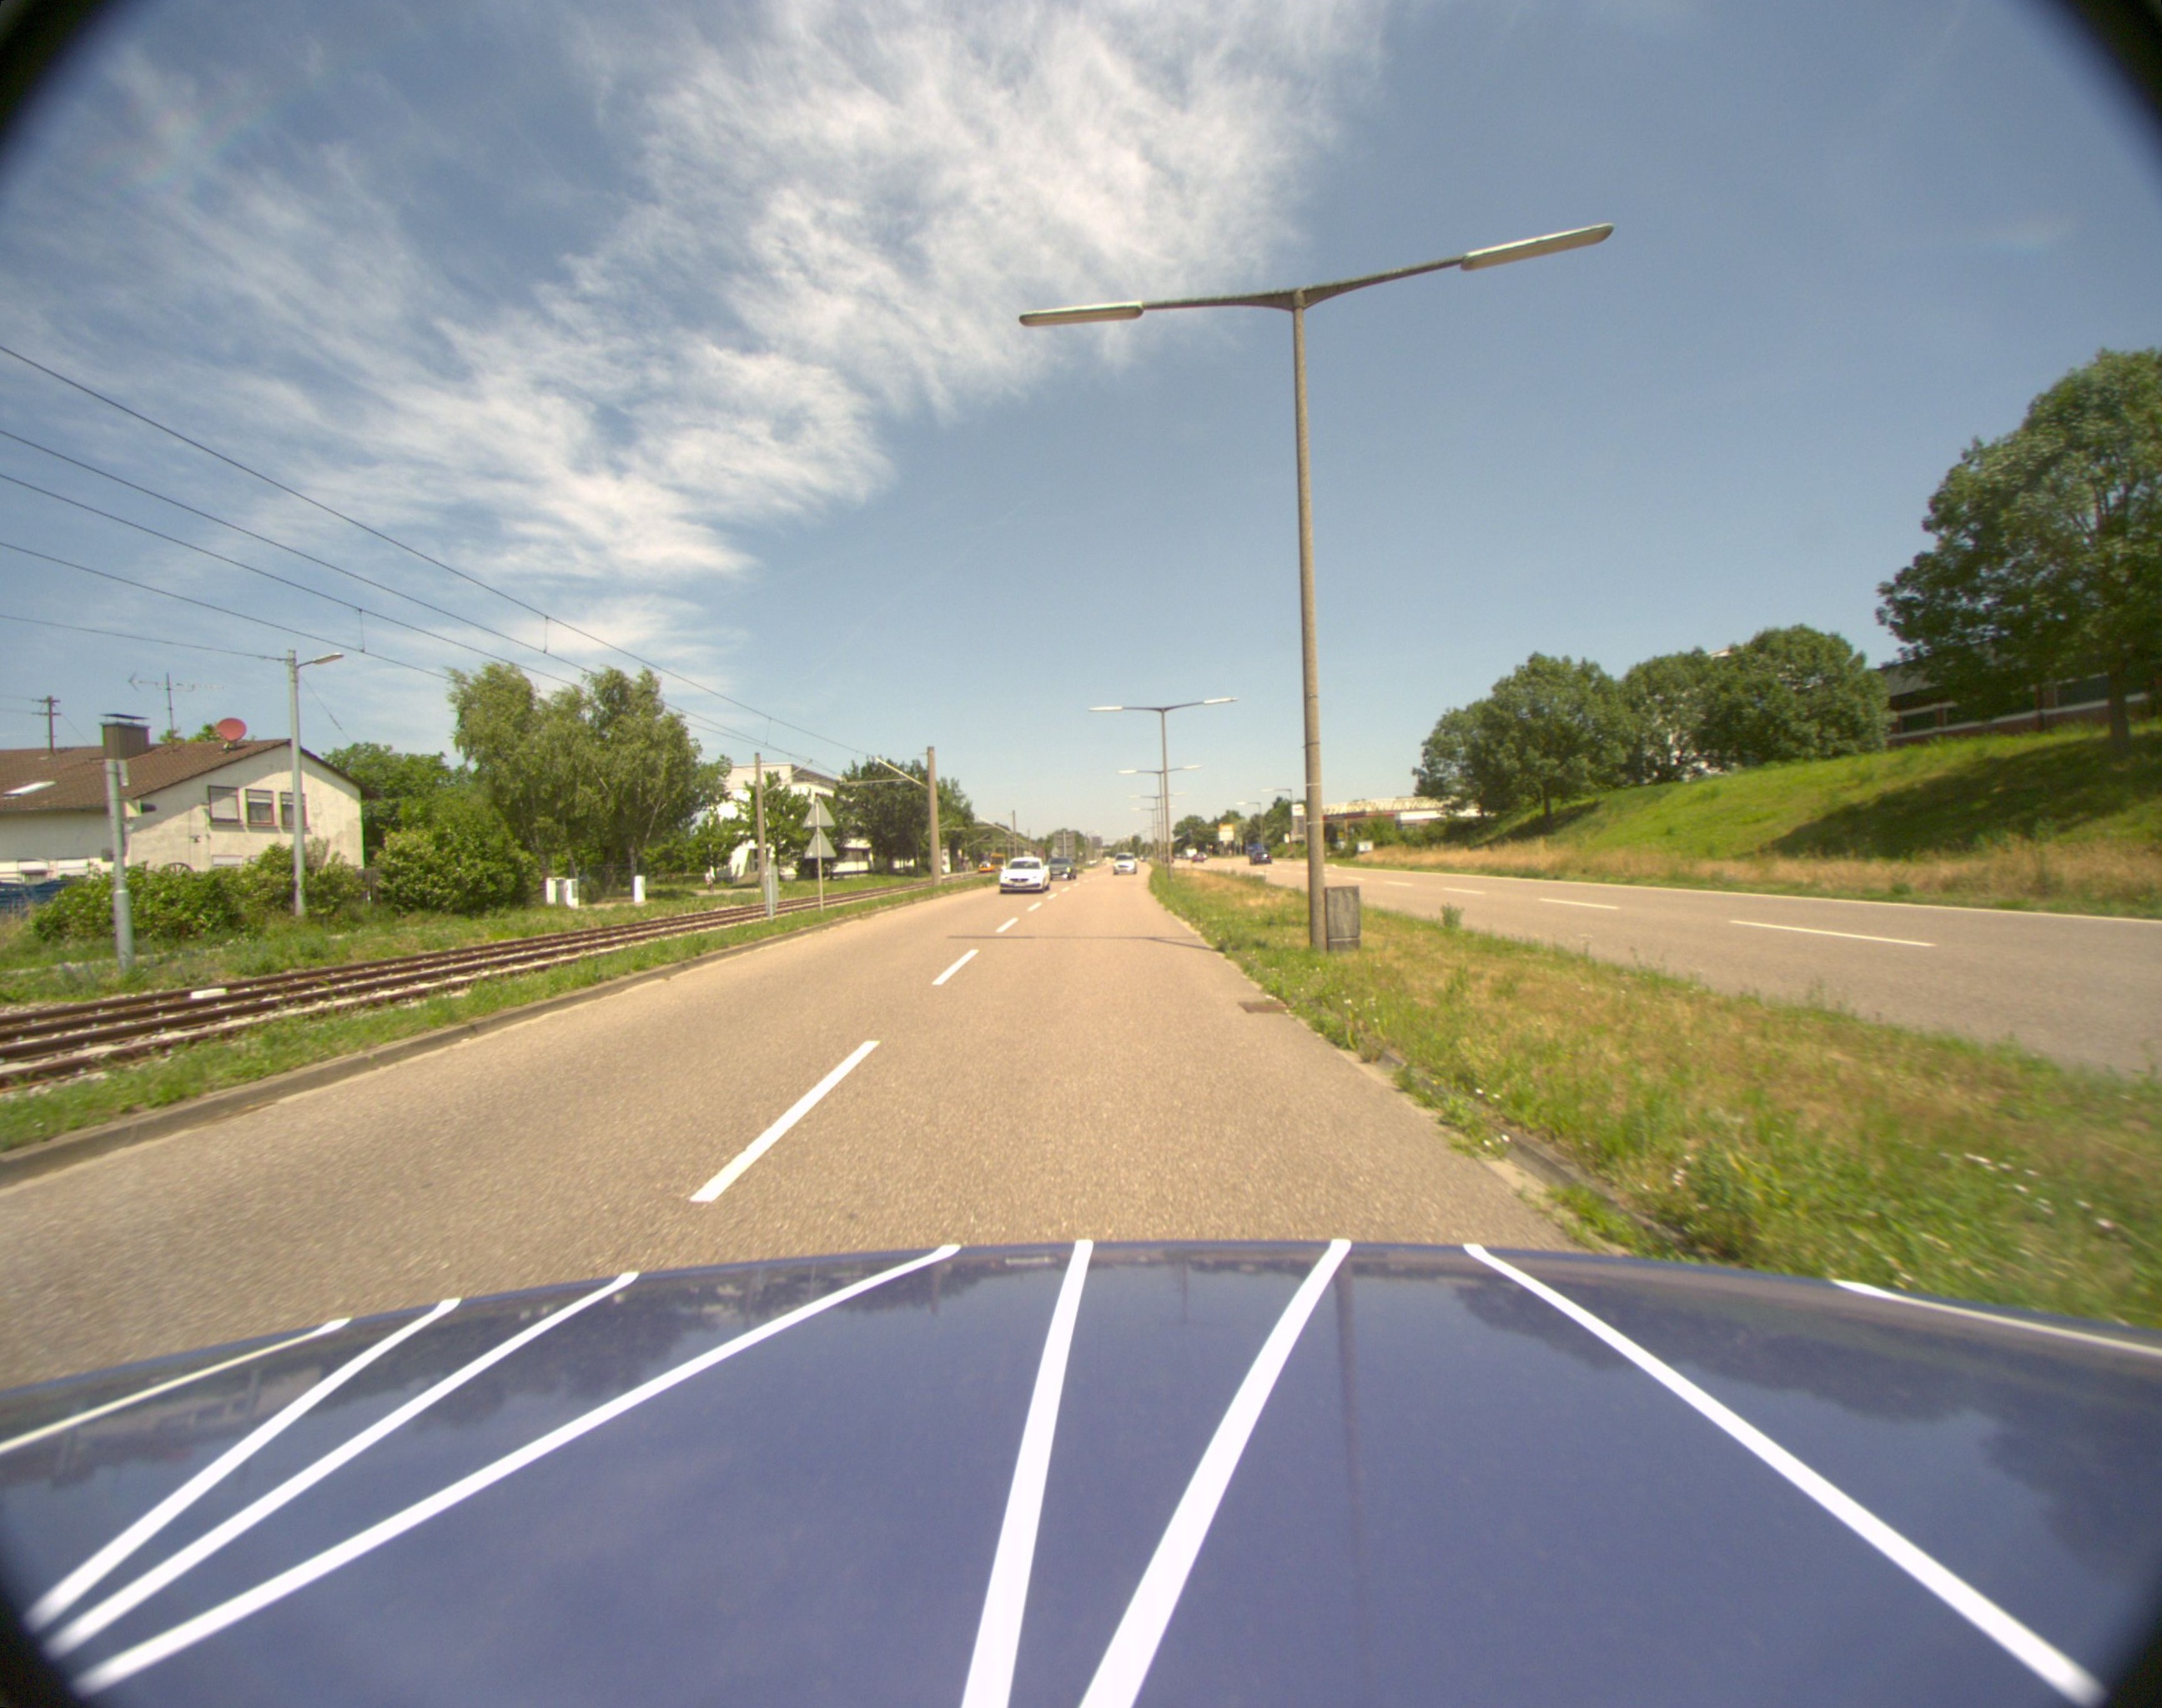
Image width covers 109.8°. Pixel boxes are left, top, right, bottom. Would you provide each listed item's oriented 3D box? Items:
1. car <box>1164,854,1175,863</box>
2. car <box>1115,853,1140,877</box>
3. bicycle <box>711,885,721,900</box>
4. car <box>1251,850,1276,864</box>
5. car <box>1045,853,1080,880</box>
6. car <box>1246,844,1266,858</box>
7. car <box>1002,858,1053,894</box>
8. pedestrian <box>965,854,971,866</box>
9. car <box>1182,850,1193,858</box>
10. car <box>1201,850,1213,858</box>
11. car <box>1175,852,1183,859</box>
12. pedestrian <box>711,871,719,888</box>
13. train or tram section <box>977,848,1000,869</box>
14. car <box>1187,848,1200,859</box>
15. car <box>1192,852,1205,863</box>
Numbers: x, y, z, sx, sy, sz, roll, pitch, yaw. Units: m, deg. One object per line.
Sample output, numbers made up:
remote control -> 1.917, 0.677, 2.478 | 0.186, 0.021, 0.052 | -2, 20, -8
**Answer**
car -> 15.129, 0.709, 130.016 | 1.679, 1.426, 4.192 | -4, 0, 5
car -> 4.020, 0.918, 66.963 | 1.876, 1.865, 5.733 | -5, 0, 2
bicycle -> -29.699, 3.130, 61.801 | 0.431, 1.113, 1.579 | -3, 0, -18
car -> 18.381, 0.280, 76.737 | 1.997, 1.352, 4.669 | -3, 0, 9
car -> -1.159, 0.779, 49.375 | 1.722, 1.587, 4.002 | -3, 0, 5
car -> 31.903, -0.578, 138.235 | 2.175, 2.397, 5.681 | -3, 0, 27
car -> -2.196, 0.880, 32.301 | 1.686, 1.381, 4.451 | -1, 0, 2
pedestrian -> -17.692, 1.007, 118.676 | 0.696, 1.831, 0.711 | -4, 1, -11
car -> 26.040, -0.106, 186.240 | 1.969, 1.740, 5.022 | -5, 1, 1
car -> 25.052, -0.042, 150.853 | 1.835, 1.440, 4.852 | -3, 0, 4
car -> 27.009, 0.440, 208.885 | 1.662, 1.530, 4.001 | -7, 0, 3
pedestrian -> -29.836, 2.089, 61.974 | 0.459, 1.395, 0.583 | -2, 1, -21
train or tram section -> -16.343, 0.720, 134.963 | 2.821, 3.561, 12.499 | 1, 0, -2
car -> 25.044, -0.199, 169.345 | 2.254, 2.259, 5.450 | -4, 0, 5
car -> 18.332, 0.535, 118.589 | 1.696, 1.483, 4.001 | -3, 0, 4
